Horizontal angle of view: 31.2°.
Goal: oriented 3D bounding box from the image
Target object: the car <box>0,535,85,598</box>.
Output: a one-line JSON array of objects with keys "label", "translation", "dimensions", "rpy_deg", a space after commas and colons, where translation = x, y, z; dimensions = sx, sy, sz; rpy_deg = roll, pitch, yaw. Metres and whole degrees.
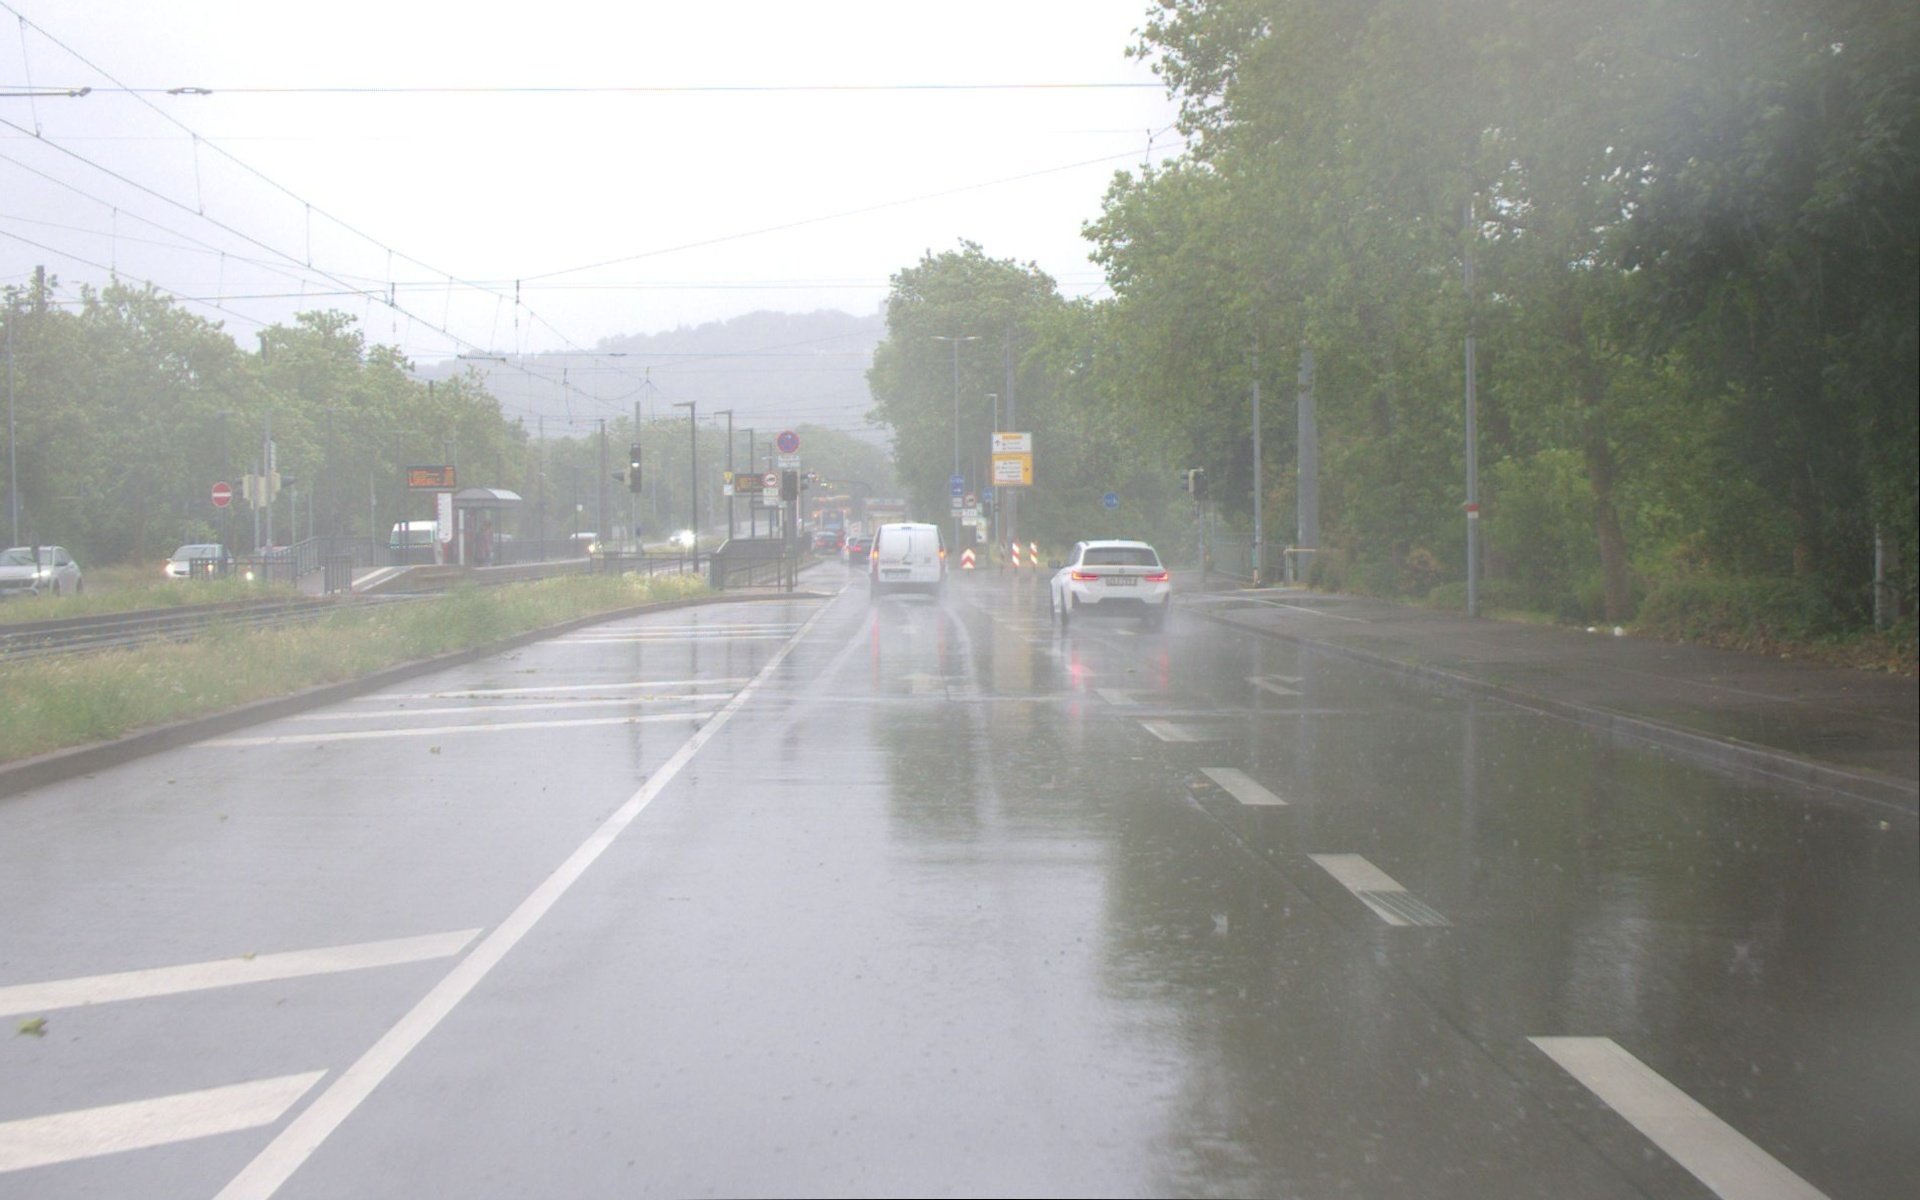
[{"label": "car", "translation": [-23.183, -0.846, 85.878], "dimensions": [1.720, 1.489, 4.000], "rpy_deg": [-1, 1, -1]}]

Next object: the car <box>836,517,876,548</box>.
[{"label": "car", "translation": [-5.332, -3.495, 176.719], "dimensions": [1.993, 1.542, 4.001], "rpy_deg": [1, 1, -1]}]

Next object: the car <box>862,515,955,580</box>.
[{"label": "car", "translation": [-1.178, -1.229, 79.289], "dimensions": [2.077, 1.415, 4.000], "rpy_deg": [-1, 1, -1]}]

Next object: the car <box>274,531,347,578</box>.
[{"label": "car", "translation": [-21.312, -1.503, 112.970], "dimensions": [1.720, 1.489, 4.000], "rpy_deg": [-1, 1, -1]}]

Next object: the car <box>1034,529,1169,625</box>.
[{"label": "car", "translation": [2.332, -0.416, 57.751], "dimensions": [1.948, 1.531, 4.467], "rpy_deg": [0, 1, -2]}]

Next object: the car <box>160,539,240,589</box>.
[{"label": "car", "translation": [-24.004, -1.152, 108.755], "dimensions": [1.720, 1.489, 4.001], "rpy_deg": [-1, 1, -1]}]
